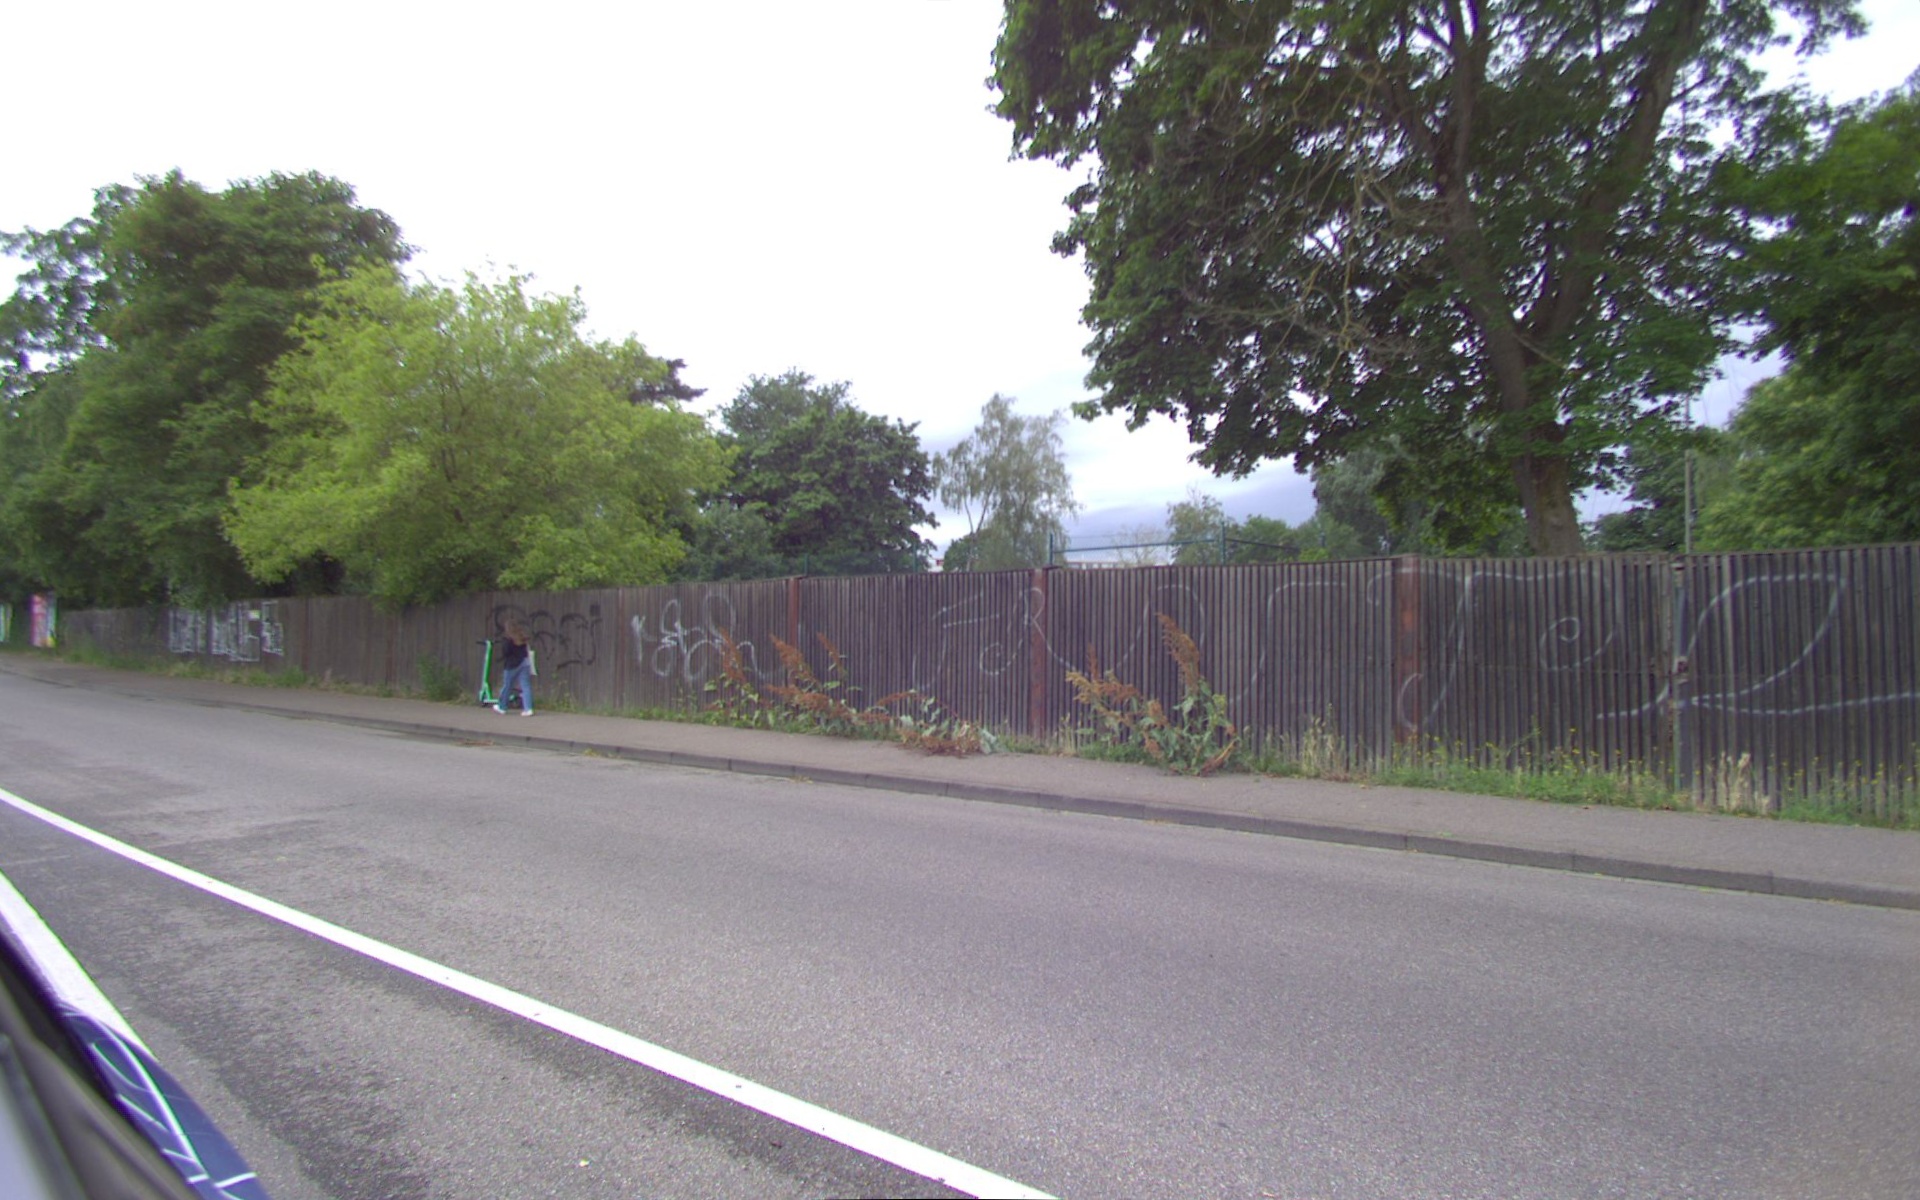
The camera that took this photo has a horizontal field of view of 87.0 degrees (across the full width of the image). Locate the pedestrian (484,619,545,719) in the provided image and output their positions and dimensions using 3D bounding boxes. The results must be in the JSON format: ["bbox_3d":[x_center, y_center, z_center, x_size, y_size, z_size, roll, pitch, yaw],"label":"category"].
[{"bbox_3d":[-7.071,1.082,16.072,0.723,1.541,0.606,-2,-2,36],"label":"pedestrian"}]

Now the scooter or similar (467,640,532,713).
[{"bbox_3d":[-7.822,1.277,17.173,1.301,1.179,0.419,-2,-2,36],"label":"scooter or similar"}]
